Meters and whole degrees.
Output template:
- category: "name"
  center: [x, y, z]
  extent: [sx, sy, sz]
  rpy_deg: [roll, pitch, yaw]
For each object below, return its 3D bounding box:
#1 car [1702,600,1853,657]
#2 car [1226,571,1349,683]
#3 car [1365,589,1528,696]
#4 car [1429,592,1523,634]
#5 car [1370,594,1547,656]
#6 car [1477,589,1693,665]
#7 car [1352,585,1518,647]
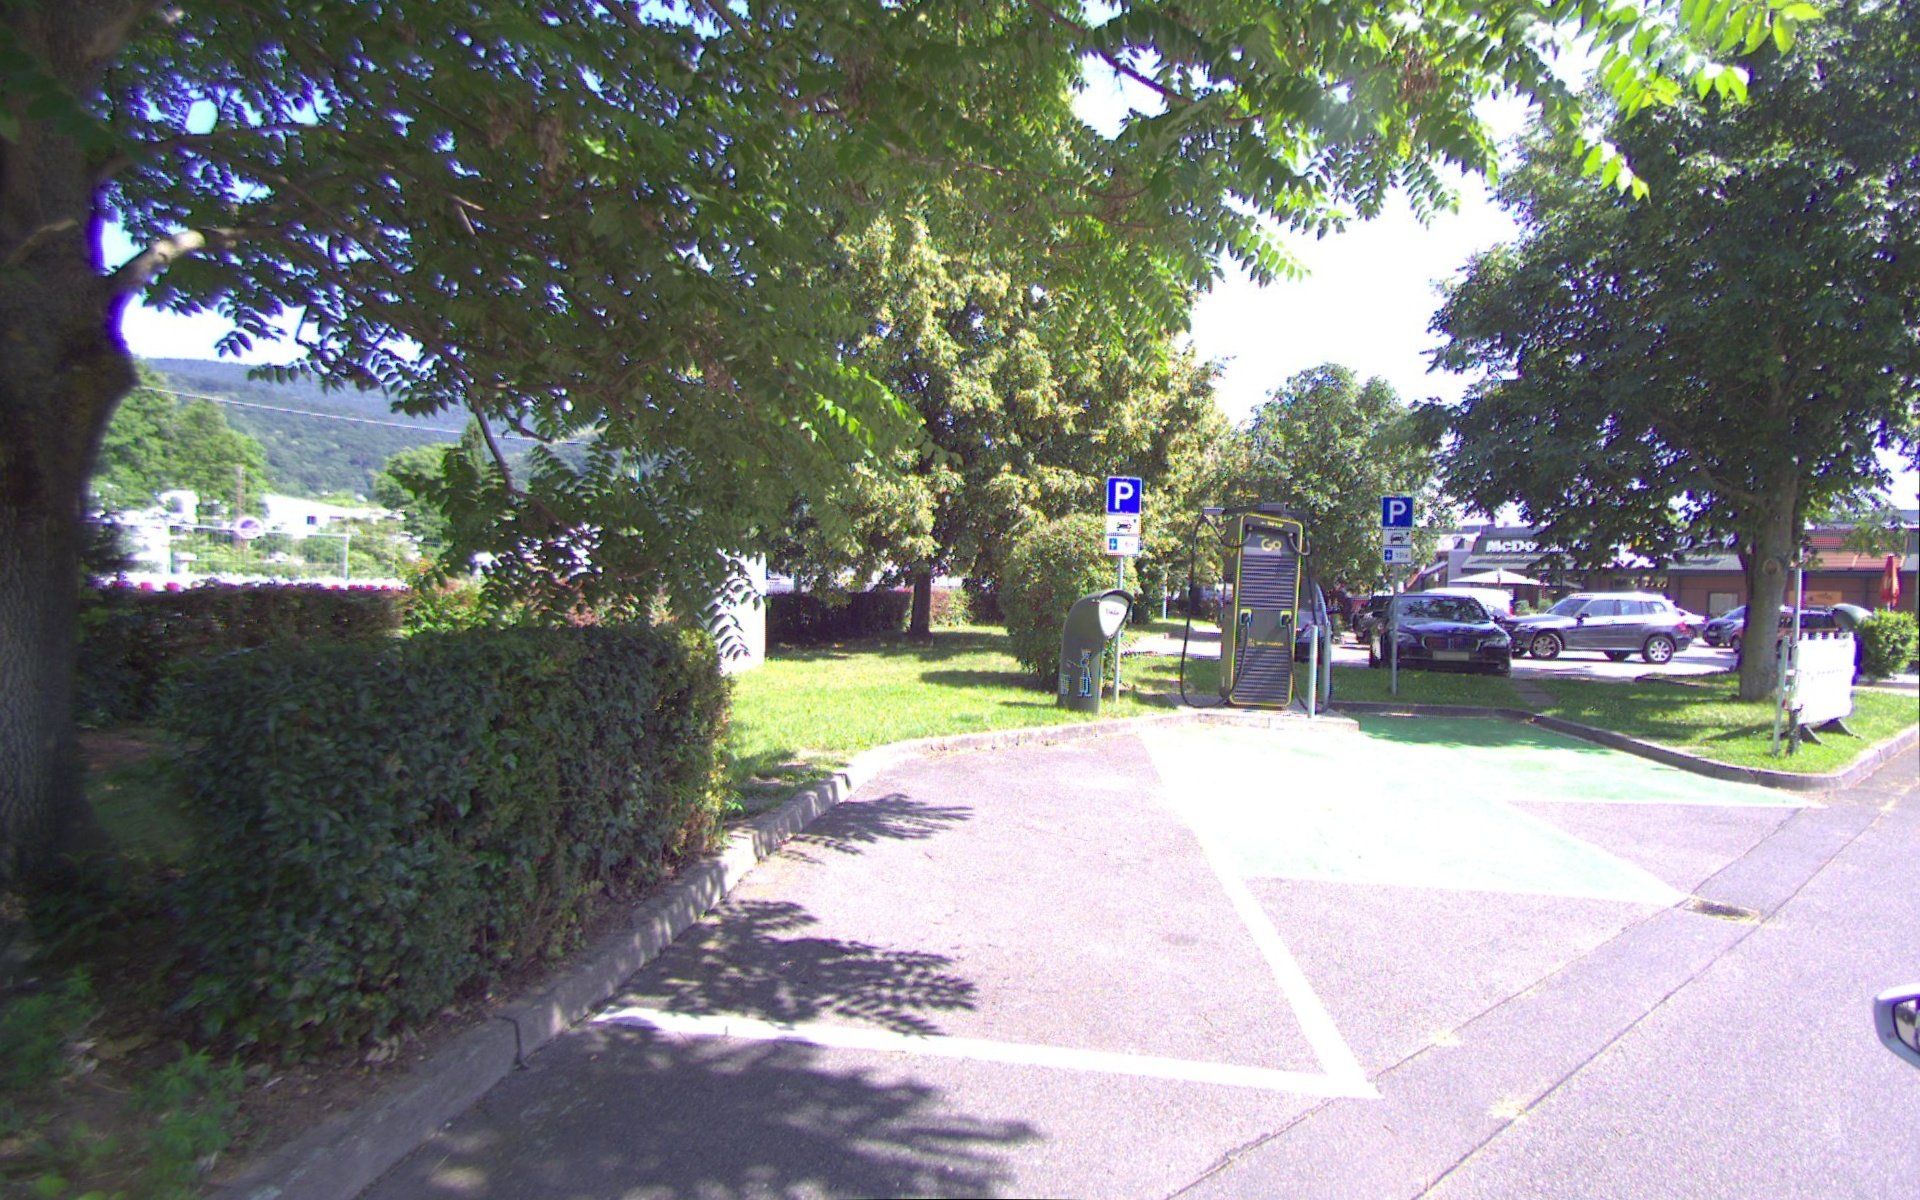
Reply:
- category: "car"
  center: [27.093, 0.889, 33.505]
  extent: [1.824, 1.708, 4.369]
  rpy_deg: [0, 1, 6]
- category: "car"
  center: [6.019, 0.412, 18.568]
  extent: [1.825, 1.708, 4.367]
  rpy_deg: [4, 2, 18]
- category: "car"
  center: [8.200, 0.616, 17.329]
  extent: [1.825, 1.472, 4.367]
  rpy_deg: [4, 2, 18]
- category: "car"
  center: [20.873, 0.483, 40.833]
  extent: [1.882, 1.573, 4.143]
  rpy_deg: [2, 1, 4]
- category: "car"
  center: [13.844, 0.660, 28.070]
  extent: [3.958, 1.511, 1.863]
  rpy_deg: [2, 1, 3]
- category: "car"
  center: [15.913, 0.656, 25.746]
  extent: [4.280, 1.708, 1.863]
  rpy_deg: [2, 1, 3]
- category: "car"
  center: [14.633, 0.470, 31.130]
  extent: [4.226, 1.708, 1.863]
  rpy_deg: [2, 1, 4]
